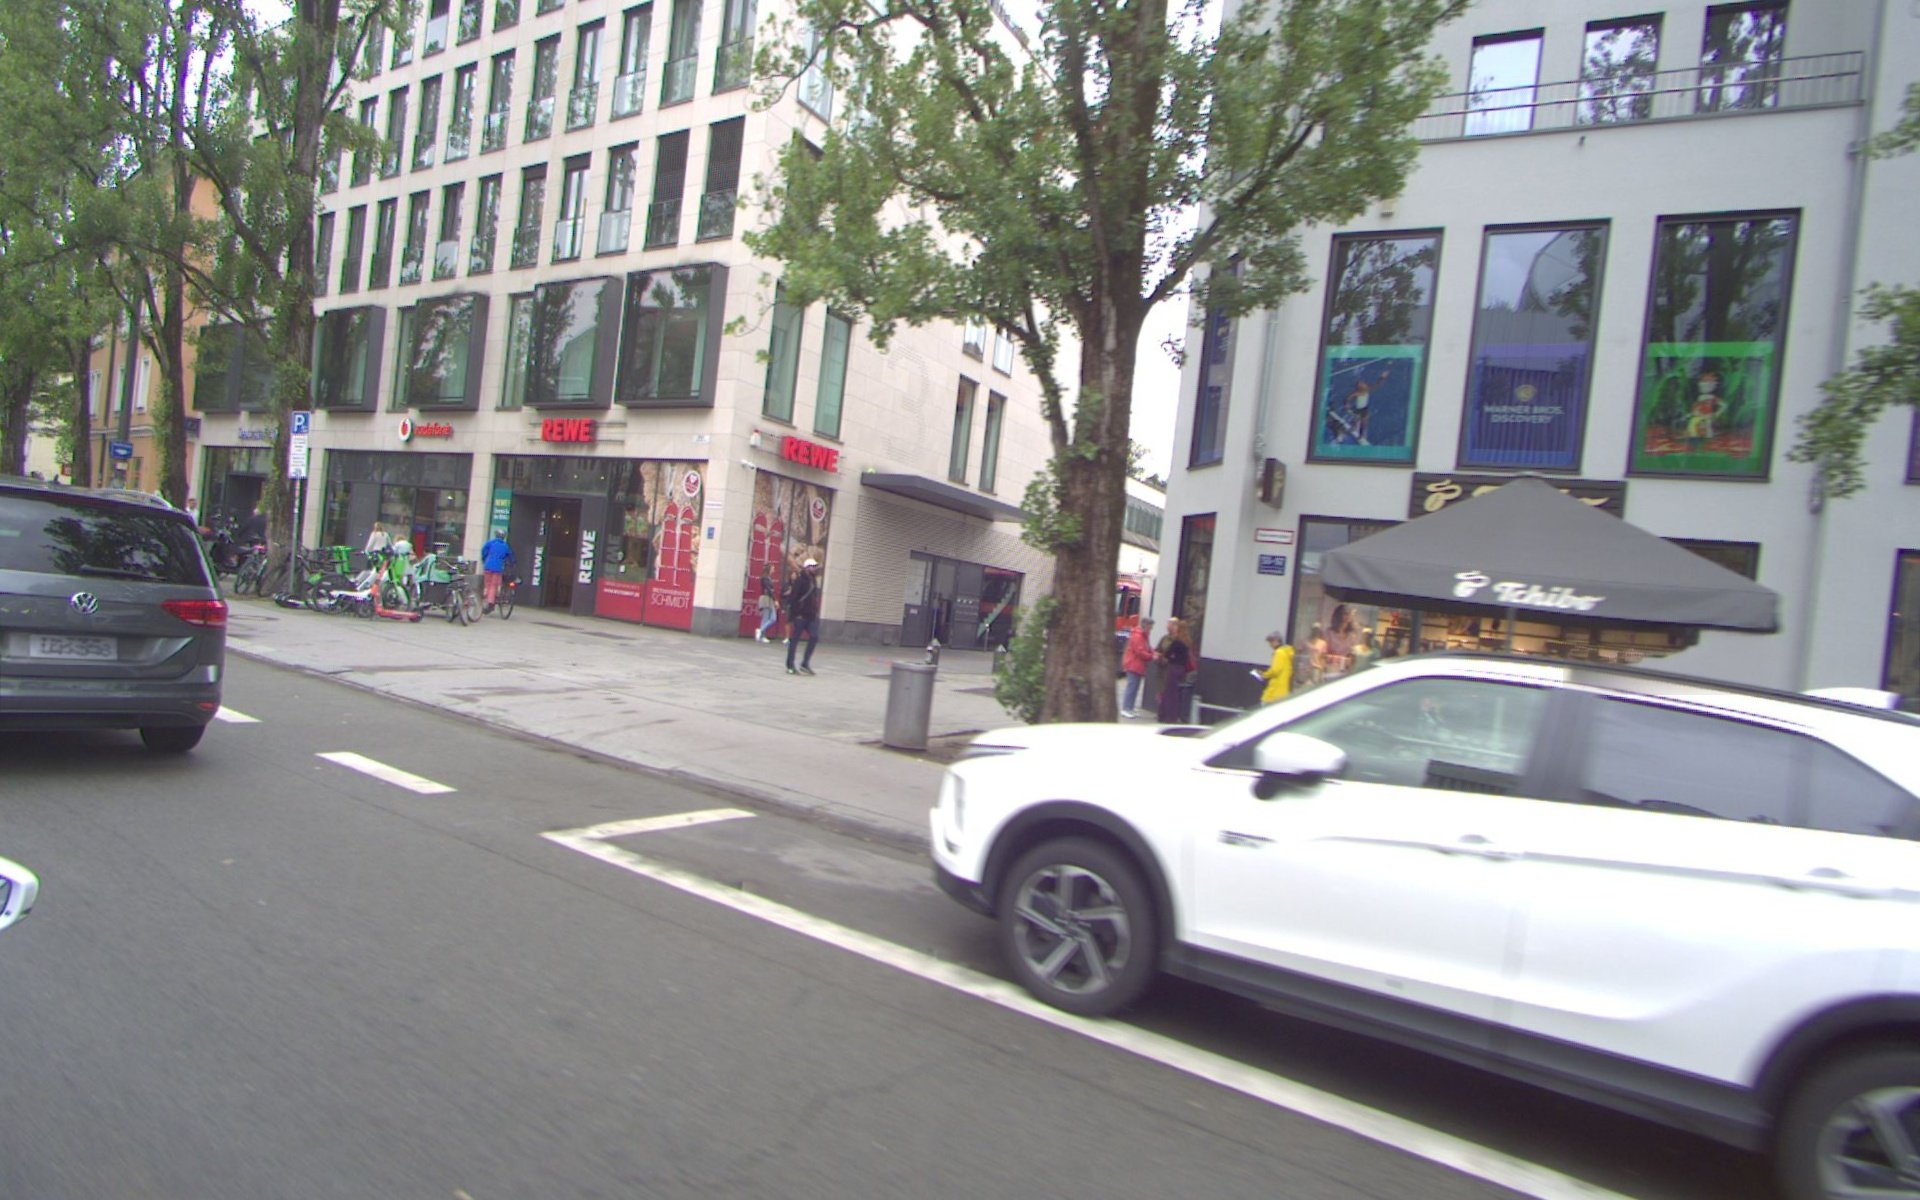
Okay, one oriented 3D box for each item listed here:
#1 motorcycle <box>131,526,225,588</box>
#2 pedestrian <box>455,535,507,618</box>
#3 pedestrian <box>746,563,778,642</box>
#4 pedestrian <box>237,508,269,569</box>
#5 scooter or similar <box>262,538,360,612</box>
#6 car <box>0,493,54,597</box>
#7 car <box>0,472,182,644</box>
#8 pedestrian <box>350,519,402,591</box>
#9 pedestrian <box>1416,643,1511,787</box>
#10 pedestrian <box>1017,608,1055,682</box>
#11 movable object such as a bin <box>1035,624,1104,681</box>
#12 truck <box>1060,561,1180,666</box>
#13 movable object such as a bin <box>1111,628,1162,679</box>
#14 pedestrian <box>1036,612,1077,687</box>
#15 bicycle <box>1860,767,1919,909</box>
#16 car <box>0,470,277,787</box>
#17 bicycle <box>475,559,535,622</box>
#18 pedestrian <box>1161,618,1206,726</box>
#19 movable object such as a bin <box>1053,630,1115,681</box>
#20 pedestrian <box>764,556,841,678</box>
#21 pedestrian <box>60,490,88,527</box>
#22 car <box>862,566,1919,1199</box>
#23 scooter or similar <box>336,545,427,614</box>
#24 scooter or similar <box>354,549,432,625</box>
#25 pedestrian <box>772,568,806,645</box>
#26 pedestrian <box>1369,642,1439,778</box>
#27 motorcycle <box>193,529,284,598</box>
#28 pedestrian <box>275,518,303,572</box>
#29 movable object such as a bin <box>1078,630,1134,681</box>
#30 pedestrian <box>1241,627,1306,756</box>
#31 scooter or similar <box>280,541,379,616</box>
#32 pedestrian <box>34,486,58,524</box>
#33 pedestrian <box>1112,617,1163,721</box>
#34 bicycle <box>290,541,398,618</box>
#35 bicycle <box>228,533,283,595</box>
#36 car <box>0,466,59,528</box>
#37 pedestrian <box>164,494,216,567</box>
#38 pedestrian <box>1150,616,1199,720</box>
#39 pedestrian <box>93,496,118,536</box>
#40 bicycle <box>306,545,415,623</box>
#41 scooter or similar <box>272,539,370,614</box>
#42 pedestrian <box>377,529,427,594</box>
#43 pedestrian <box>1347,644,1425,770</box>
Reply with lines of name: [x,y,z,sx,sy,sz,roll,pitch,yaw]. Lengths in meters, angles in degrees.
motorcycle: [-17.109,-0.933,22.019,1.612,1.171,0.688,6,1,12]
pedestrian: [-10.069,-0.489,21.141,0.783,1.640,0.609,7,2,40]
pedestrian: [-4.592,0.067,23.361,0.460,1.773,0.427,6,1,7]
pedestrian: [-20.236,-1.762,28.799,0.545,1.658,0.555,6,1,-26]
scooter or similar: [-11.841,-0.432,18.394,0.306,1.216,1.436,7,1,30]
car: [-16.564,-1.067,16.278,4.731,1.519,1.810,7,1,36]
car: [-11.689,-0.608,12.437,4.578,1.720,1.926,6,-2,36]
pedestrian: [-15.326,-1.173,26.416,0.669,1.794,0.796,7,1,20]
pedestrian: [6.591,1.484,13.181,0.665,1.747,0.760,5,2,-43]
pedestrian: [1.744,1.034,23.117,0.494,1.644,0.504,6,-1,44]
movable object such as a bin: [2.955,1.403,27.086,1.369,1.335,1.110,8,2,29]
truck: [6.195,0.609,38.242,2.586,3.494,5.562,7,0,27]
movable object such as a bin: [5.661,1.702,32.239,1.162,1.453,1.161,8,2,28]
pedestrian: [2.168,1.106,22.617,0.544,1.599,0.504,6,-1,44]
bicycle: [8.589,2.071,8.133,1.774,1.077,0.590,7,1,33]
car: [-6.503,-0.013,6.533,4.114,1.633,1.764,7,-1,31]
bicycle: [-9.783,-0.217,21.605,1.744,1.187,0.449,7,2,42]
pedestrian: [3.540,1.141,15.997,0.497,1.644,0.549,6,-1,10]
movable object such as a bin: [3.471,1.546,28.136,1.277,1.236,1.110,8,2,29]
pedestrian: [-2.675,0.292,17.066,0.910,1.949,0.646,7,2,31]
pedestrian: [-41.839,-4.328,47.528,0.768,1.634,0.819,7,1,42]
car: [1.943,0.978,4.125,4.334,1.707,1.730,7,-1,30]
scooter or similar: [-11.548,-0.405,20.103,0.545,1.226,1.384,7,1,37]
scooter or similar: [-9.897,-0.213,17.584,0.373,1.241,1.051,7,1,31]
pedestrian: [-4.054,0.149,23.865,0.420,1.773,0.467,7,1,36]
pedestrian: [5.519,1.347,12.507,0.560,1.587,0.490,7,2,34]
motorcycle: [-16.443,-0.820,22.939,1.612,1.373,0.688,6,1,12]
pedestrian: [-19.740,-1.623,29.589,0.498,1.510,0.544,6,1,-26]
movable object such as a bin: [4.293,1.624,29.526,1.162,1.311,1.161,8,2,28]
pedestrian: [4.280,1.238,13.731,0.560,1.655,0.490,7,2,34]
scooter or similar: [-11.289,-0.368,18.057,0.306,1.216,1.436,7,1,30]
pedestrian: [-42.627,-4.428,46.924,0.631,1.634,0.671,7,2,42]
pedestrian: [2.928,1.129,16.640,0.498,1.644,0.548,7,-1,-9]
bicycle: [-10.899,-0.347,17.830,0.527,1.223,1.480,7,1,31]
bicycle: [-14.918,-0.764,21.326,0.540,1.205,1.447,6,1,-21]
car: [-40.056,-4.399,42.987,1.891,2.358,4.773,5,1,-38]
pedestrian: [-21.379,-1.930,27.920,0.924,1.893,0.817,7,2,36]
pedestrian: [3.576,1.134,16.772,0.539,1.644,0.507,6,-1,24]
pedestrian: [-36.825,-3.614,43.345,0.726,1.647,0.795,5,2,-41]
bicycle: [-10.446,-0.256,17.570,0.527,1.223,1.480,7,1,31]
scooter or similar: [-11.555,-0.403,18.225,0.306,1.216,1.436,7,1,30]
pedestrian: [-15.137,-1.038,27.312,0.704,1.642,0.796,7,1,19]
pedestrian: [5.804,1.445,13.742,0.664,1.596,0.565,6,1,4]
